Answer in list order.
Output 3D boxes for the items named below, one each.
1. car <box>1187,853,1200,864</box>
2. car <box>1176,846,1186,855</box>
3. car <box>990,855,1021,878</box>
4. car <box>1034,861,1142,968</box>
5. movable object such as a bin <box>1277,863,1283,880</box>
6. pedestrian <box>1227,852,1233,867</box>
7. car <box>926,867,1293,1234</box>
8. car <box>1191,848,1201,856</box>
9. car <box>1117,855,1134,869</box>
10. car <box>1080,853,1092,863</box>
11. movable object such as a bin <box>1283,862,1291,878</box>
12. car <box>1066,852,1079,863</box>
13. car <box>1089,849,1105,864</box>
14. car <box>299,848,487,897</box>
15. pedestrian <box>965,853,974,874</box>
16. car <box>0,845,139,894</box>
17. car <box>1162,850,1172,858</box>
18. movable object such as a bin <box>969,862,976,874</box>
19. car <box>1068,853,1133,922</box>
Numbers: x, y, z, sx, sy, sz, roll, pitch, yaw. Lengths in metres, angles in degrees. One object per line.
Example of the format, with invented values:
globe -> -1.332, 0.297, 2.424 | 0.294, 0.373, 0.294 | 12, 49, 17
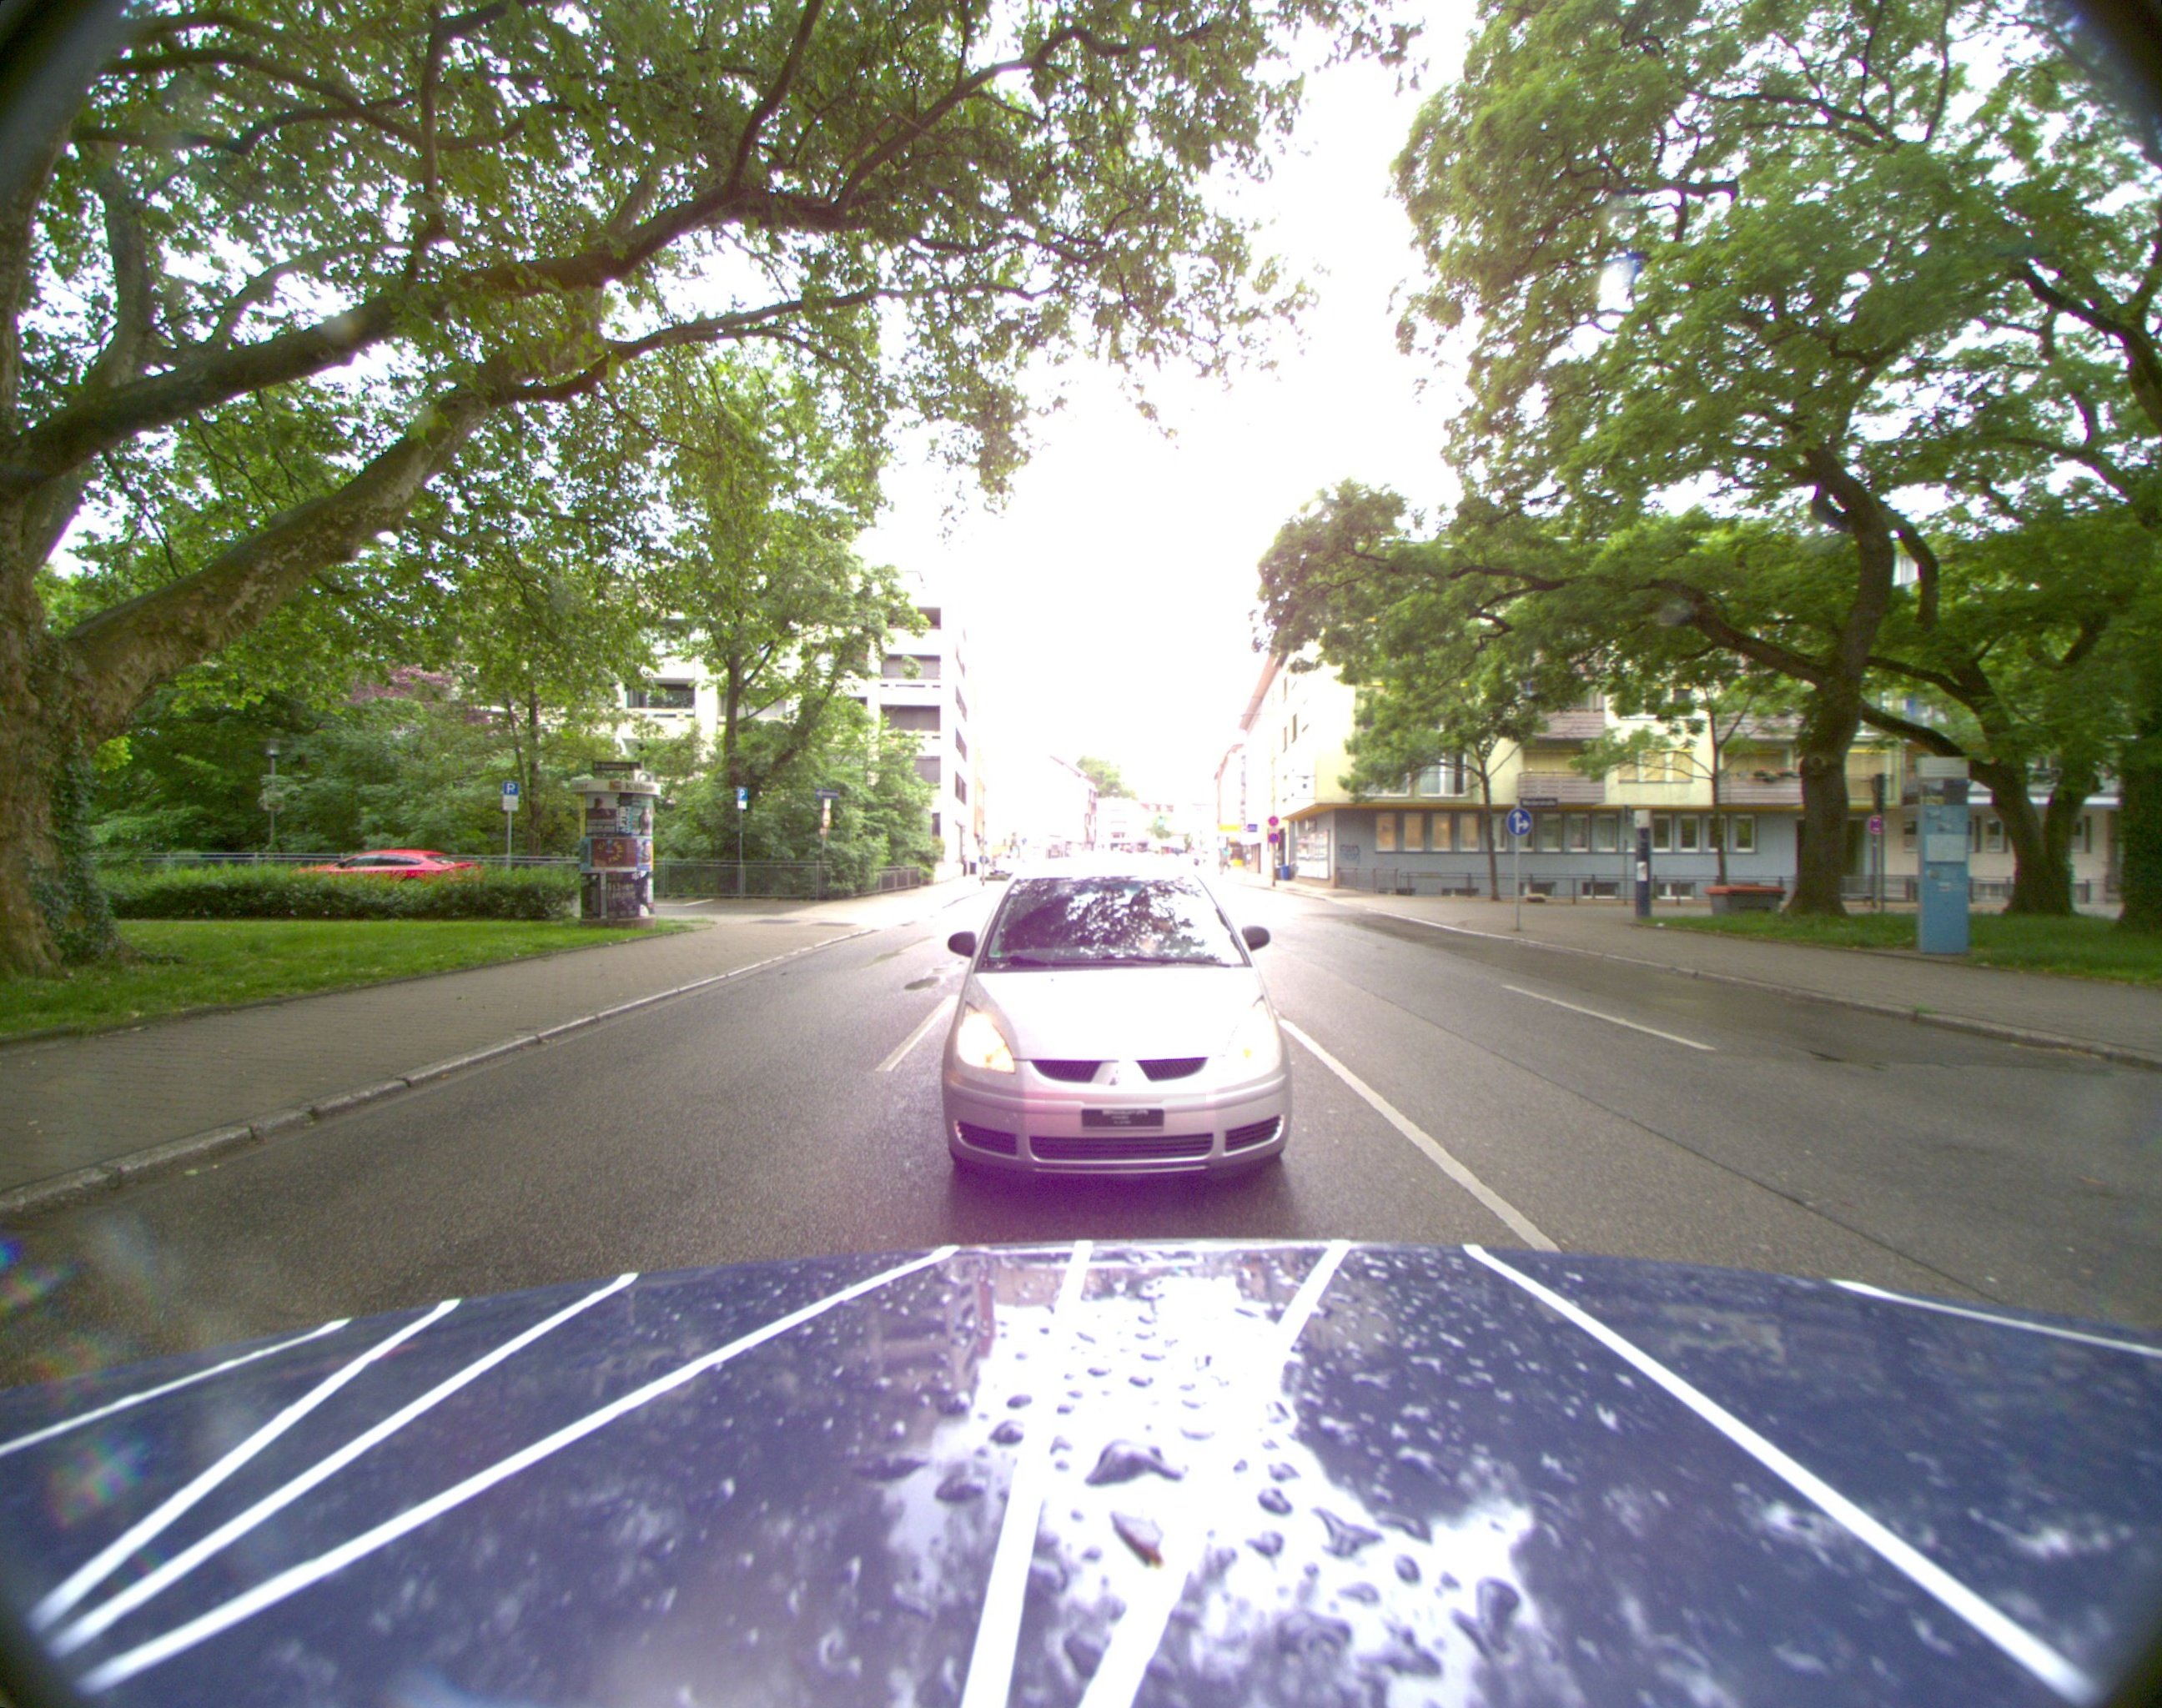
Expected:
car -> 17.922, 0.728, 121.160 | 1.889, 1.707, 4.001 | 1, 0, 4
car -> 22.018, -0.702, 166.990 | 1.998, 1.841, 4.001 | 1, 0, 4
car -> -5.309, 0.859, 53.504 | 1.681, 1.424, 3.681 | 3, 0, 1
car -> 0.179, 0.919, 13.226 | 1.590, 1.540, 3.771 | 1, 0, 2
movable object such as a bin -> 12.688, 1.111, 48.452 | 0.338, 1.023, 0.353 | 1, 1, 8
pedestrian -> 17.443, 0.651, 88.887 | 0.594, 1.833, 0.565 | 1, 1, 8
car -> 0.150, 0.893, 4.952 | 1.576, 1.514, 3.241 | -1, 0, 1
car -> 25.015, -0.419, 165.986 | 1.867, 1.648, 4.001 | 1, 0, 4
car -> 4.770, 0.866, 81.786 | 1.701, 1.433, 3.897 | 1, 0, 1
car -> 0.801, 0.602, 115.777 | 1.802, 1.433, 3.897 | 1, 0, 1
movable object such as a bin -> 13.089, 1.005, 48.267 | 0.415, 1.023, 0.353 | 1, 1, 8
car -> -1.239, 0.510, 109.913 | 1.802, 1.433, 3.896 | 1, 0, 0
car -> 2.095, 0.288, 101.096 | 1.935, 1.817, 3.999 | -2, 1, 0
car -> -19.410, 0.514, 21.553 | 3.790, 1.271, 1.576 | 1, 1, -3
pedestrian -> -8.001, 0.693, 54.533 | 0.480, 1.521, 0.481 | -2, 1, 1
car -> -28.974, 0.412, 21.164 | 3.468, 1.271, 1.448 | 1, 1, -5
car -> 18.092, -0.045, 159.406 | 1.998, 1.631, 4.001 | 1, 0, 4
movable object such as a bin -> -8.988, 1.165, 62.931 | 0.556, 1.035, 0.292 | 1, 1, 0
car -> 0.484, 0.832, 20.841 | 1.584, 1.705, 3.649 | 1, 0, 0
